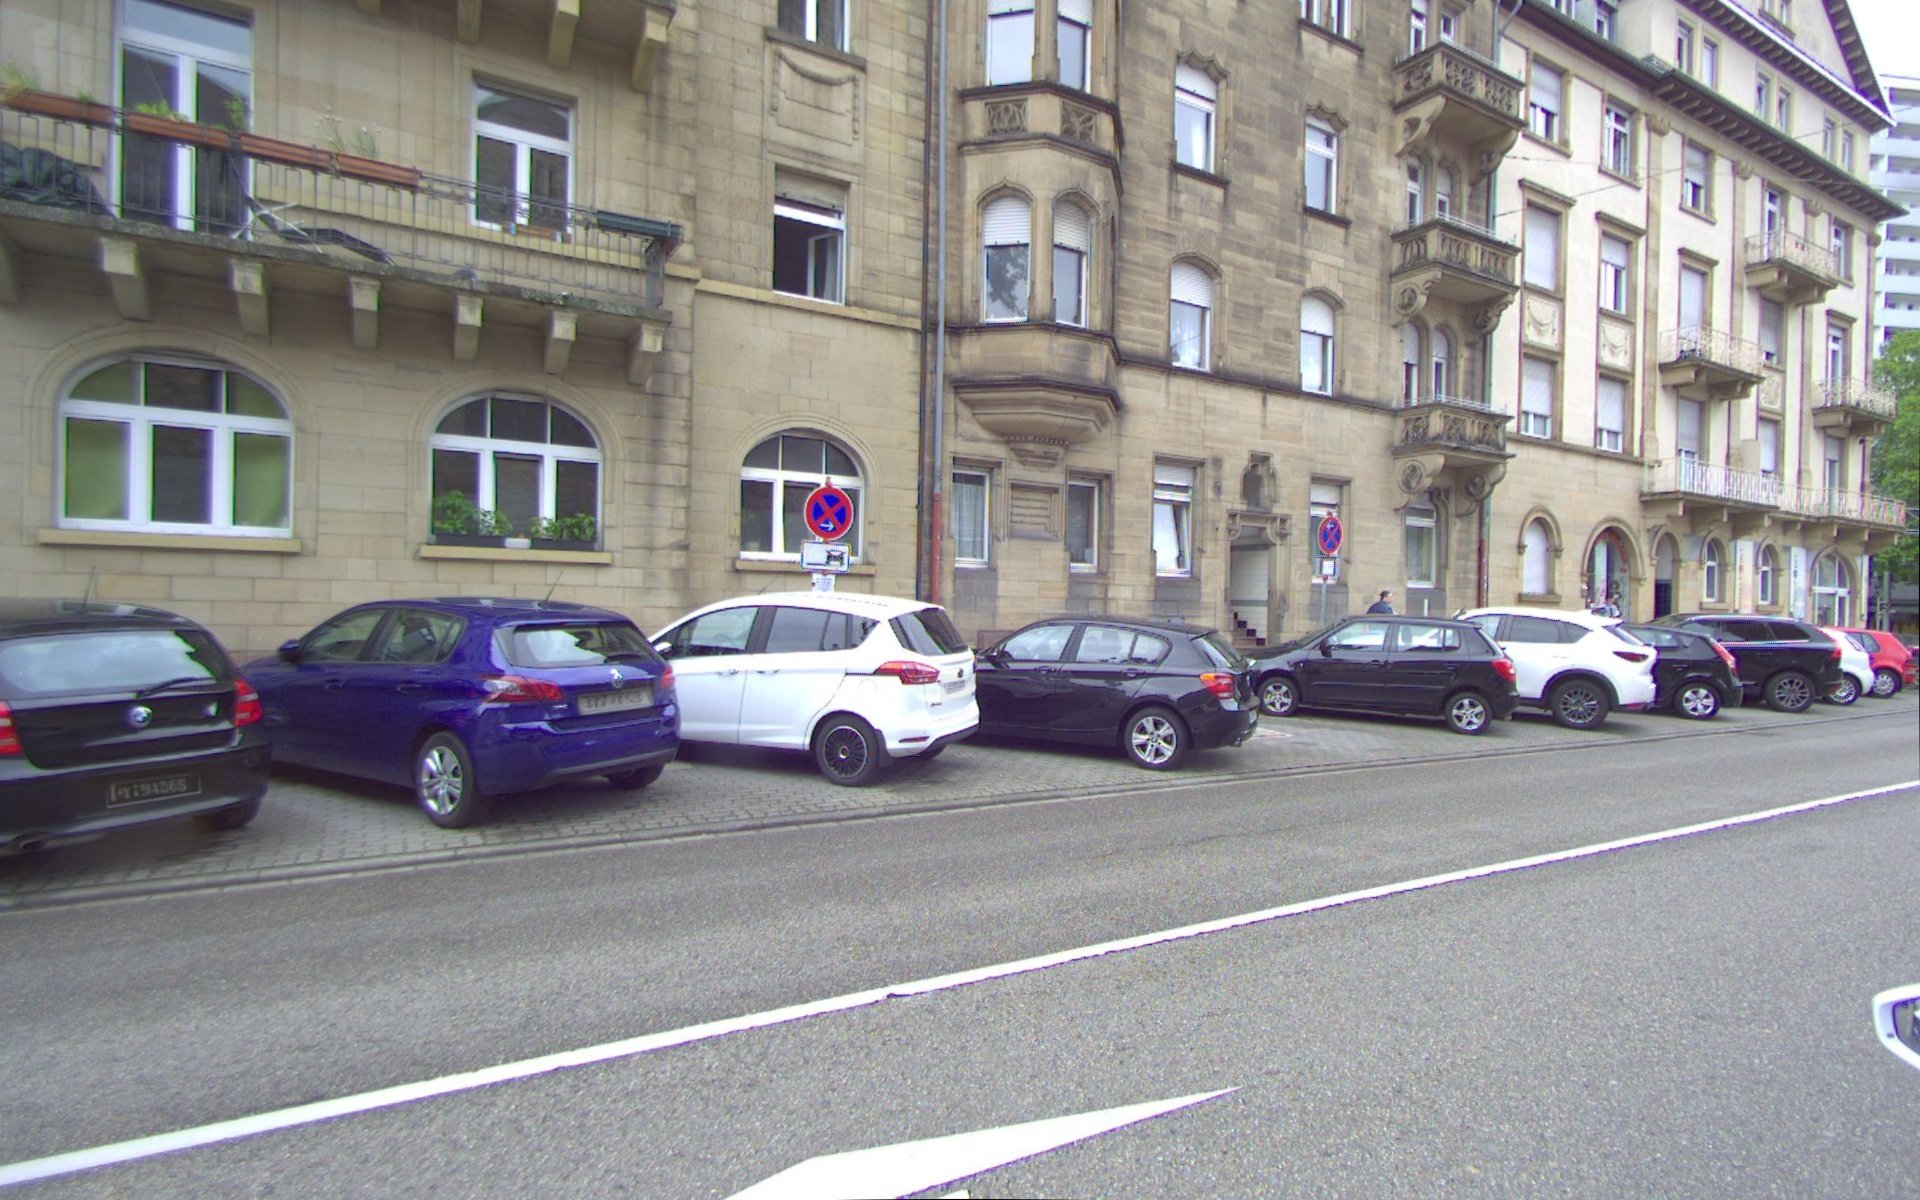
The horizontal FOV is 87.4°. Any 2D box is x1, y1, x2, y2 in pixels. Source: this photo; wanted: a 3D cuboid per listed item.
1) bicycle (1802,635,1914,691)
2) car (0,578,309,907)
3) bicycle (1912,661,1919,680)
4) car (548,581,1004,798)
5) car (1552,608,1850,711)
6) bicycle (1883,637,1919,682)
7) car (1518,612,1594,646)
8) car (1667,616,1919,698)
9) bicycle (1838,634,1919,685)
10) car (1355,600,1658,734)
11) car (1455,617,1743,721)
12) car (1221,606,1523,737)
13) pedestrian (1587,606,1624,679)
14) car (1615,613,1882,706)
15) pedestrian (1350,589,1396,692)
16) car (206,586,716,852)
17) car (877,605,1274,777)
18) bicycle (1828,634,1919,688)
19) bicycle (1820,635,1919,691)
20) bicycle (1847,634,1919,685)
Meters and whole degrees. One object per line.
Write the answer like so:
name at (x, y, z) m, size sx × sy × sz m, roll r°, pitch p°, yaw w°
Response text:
bicycle at (21.236, 1.467, 23.793) m, size 0.436 × 1.050 × 1.879 m, roll 1°, pitch 4°, yaw -26°
car at (-6.102, 0.663, 6.281) m, size 3.927 × 1.457 × 1.730 m, roll 3°, pitch 2°, yaw 28°
bicycle at (25.271, 1.879, 25.131) m, size 1.017 × 0.451 × 1.876 m, roll 0°, pitch 6°, yaw -31°
car at (-1.744, 0.692, 9.536) m, size 3.922 × 1.575 × 1.702 m, roll 3°, pitch 2°, yaw 22°
car at (13.771, 1.048, 18.968) m, size 4.141 × 1.674 × 1.732 m, roll 2°, pitch 0°, yaw 18°
bicycle at (24.235, 1.555, 24.894) m, size 0.437 × 1.050 × 1.876 m, roll 1°, pitch 5°, yaw -31°
car at (16.025, 0.772, 27.017) m, size 1.991 × 0.845 × 0.909 m, roll 2°, pitch 0°, yaw -31°
car at (18.228, 1.203, 22.143) m, size 3.919 × 1.492 × 1.684 m, roll 2°, pitch 2°, yaw 12°
bicycle at (22.976, 1.473, 24.757) m, size 0.437 × 1.050 × 1.876 m, roll 1°, pitch 5°, yaw -31°
car at (8.458, 0.935, 15.669) m, size 3.935 × 1.746 × 1.835 m, roll 2°, pitch 0°, yaw 36°
car at (10.855, 1.114, 17.414) m, size 3.923 × 1.514 × 1.731 m, roll 2°, pitch 0°, yaw 23°
car at (5.778, 0.935, 14.379) m, size 3.738 × 1.517 × 1.569 m, roll 3°, pitch 1°, yaw 22°
pedestrian at (16.094, 1.050, 25.047) m, size 0.544 × 1.809 × 0.564 m, roll 1°, pitch 0°, yaw -29°
car at (15.937, 1.158, 20.540) m, size 3.920 × 1.492 × 1.564 m, roll 3°, pitch 2°, yaw 18°
pedestrian at (8.088, 0.783, 19.665) m, size 0.544 × 1.984 × 0.616 m, roll 1°, pitch 0°, yaw -29°
car at (-3.928, 0.709, 7.826) m, size 3.682 × 1.465 × 1.820 m, roll 3°, pitch 2°, yaw 30°
car at (1.236, 0.858, 10.893) m, size 3.924 × 1.436 × 1.660 m, roll 3°, pitch 0°, yaw 25°
bicycle at (22.422, 1.480, 24.408) m, size 0.437 × 1.050 × 1.876 m, roll 1°, pitch 5°, yaw -31°
bicycle at (21.973, 1.487, 24.126) m, size 0.437 × 1.050 × 1.876 m, roll 1°, pitch 5°, yaw -31°
bicycle at (23.499, 1.504, 25.109) m, size 0.437 × 1.050 × 1.876 m, roll 1°, pitch 5°, yaw -31°
